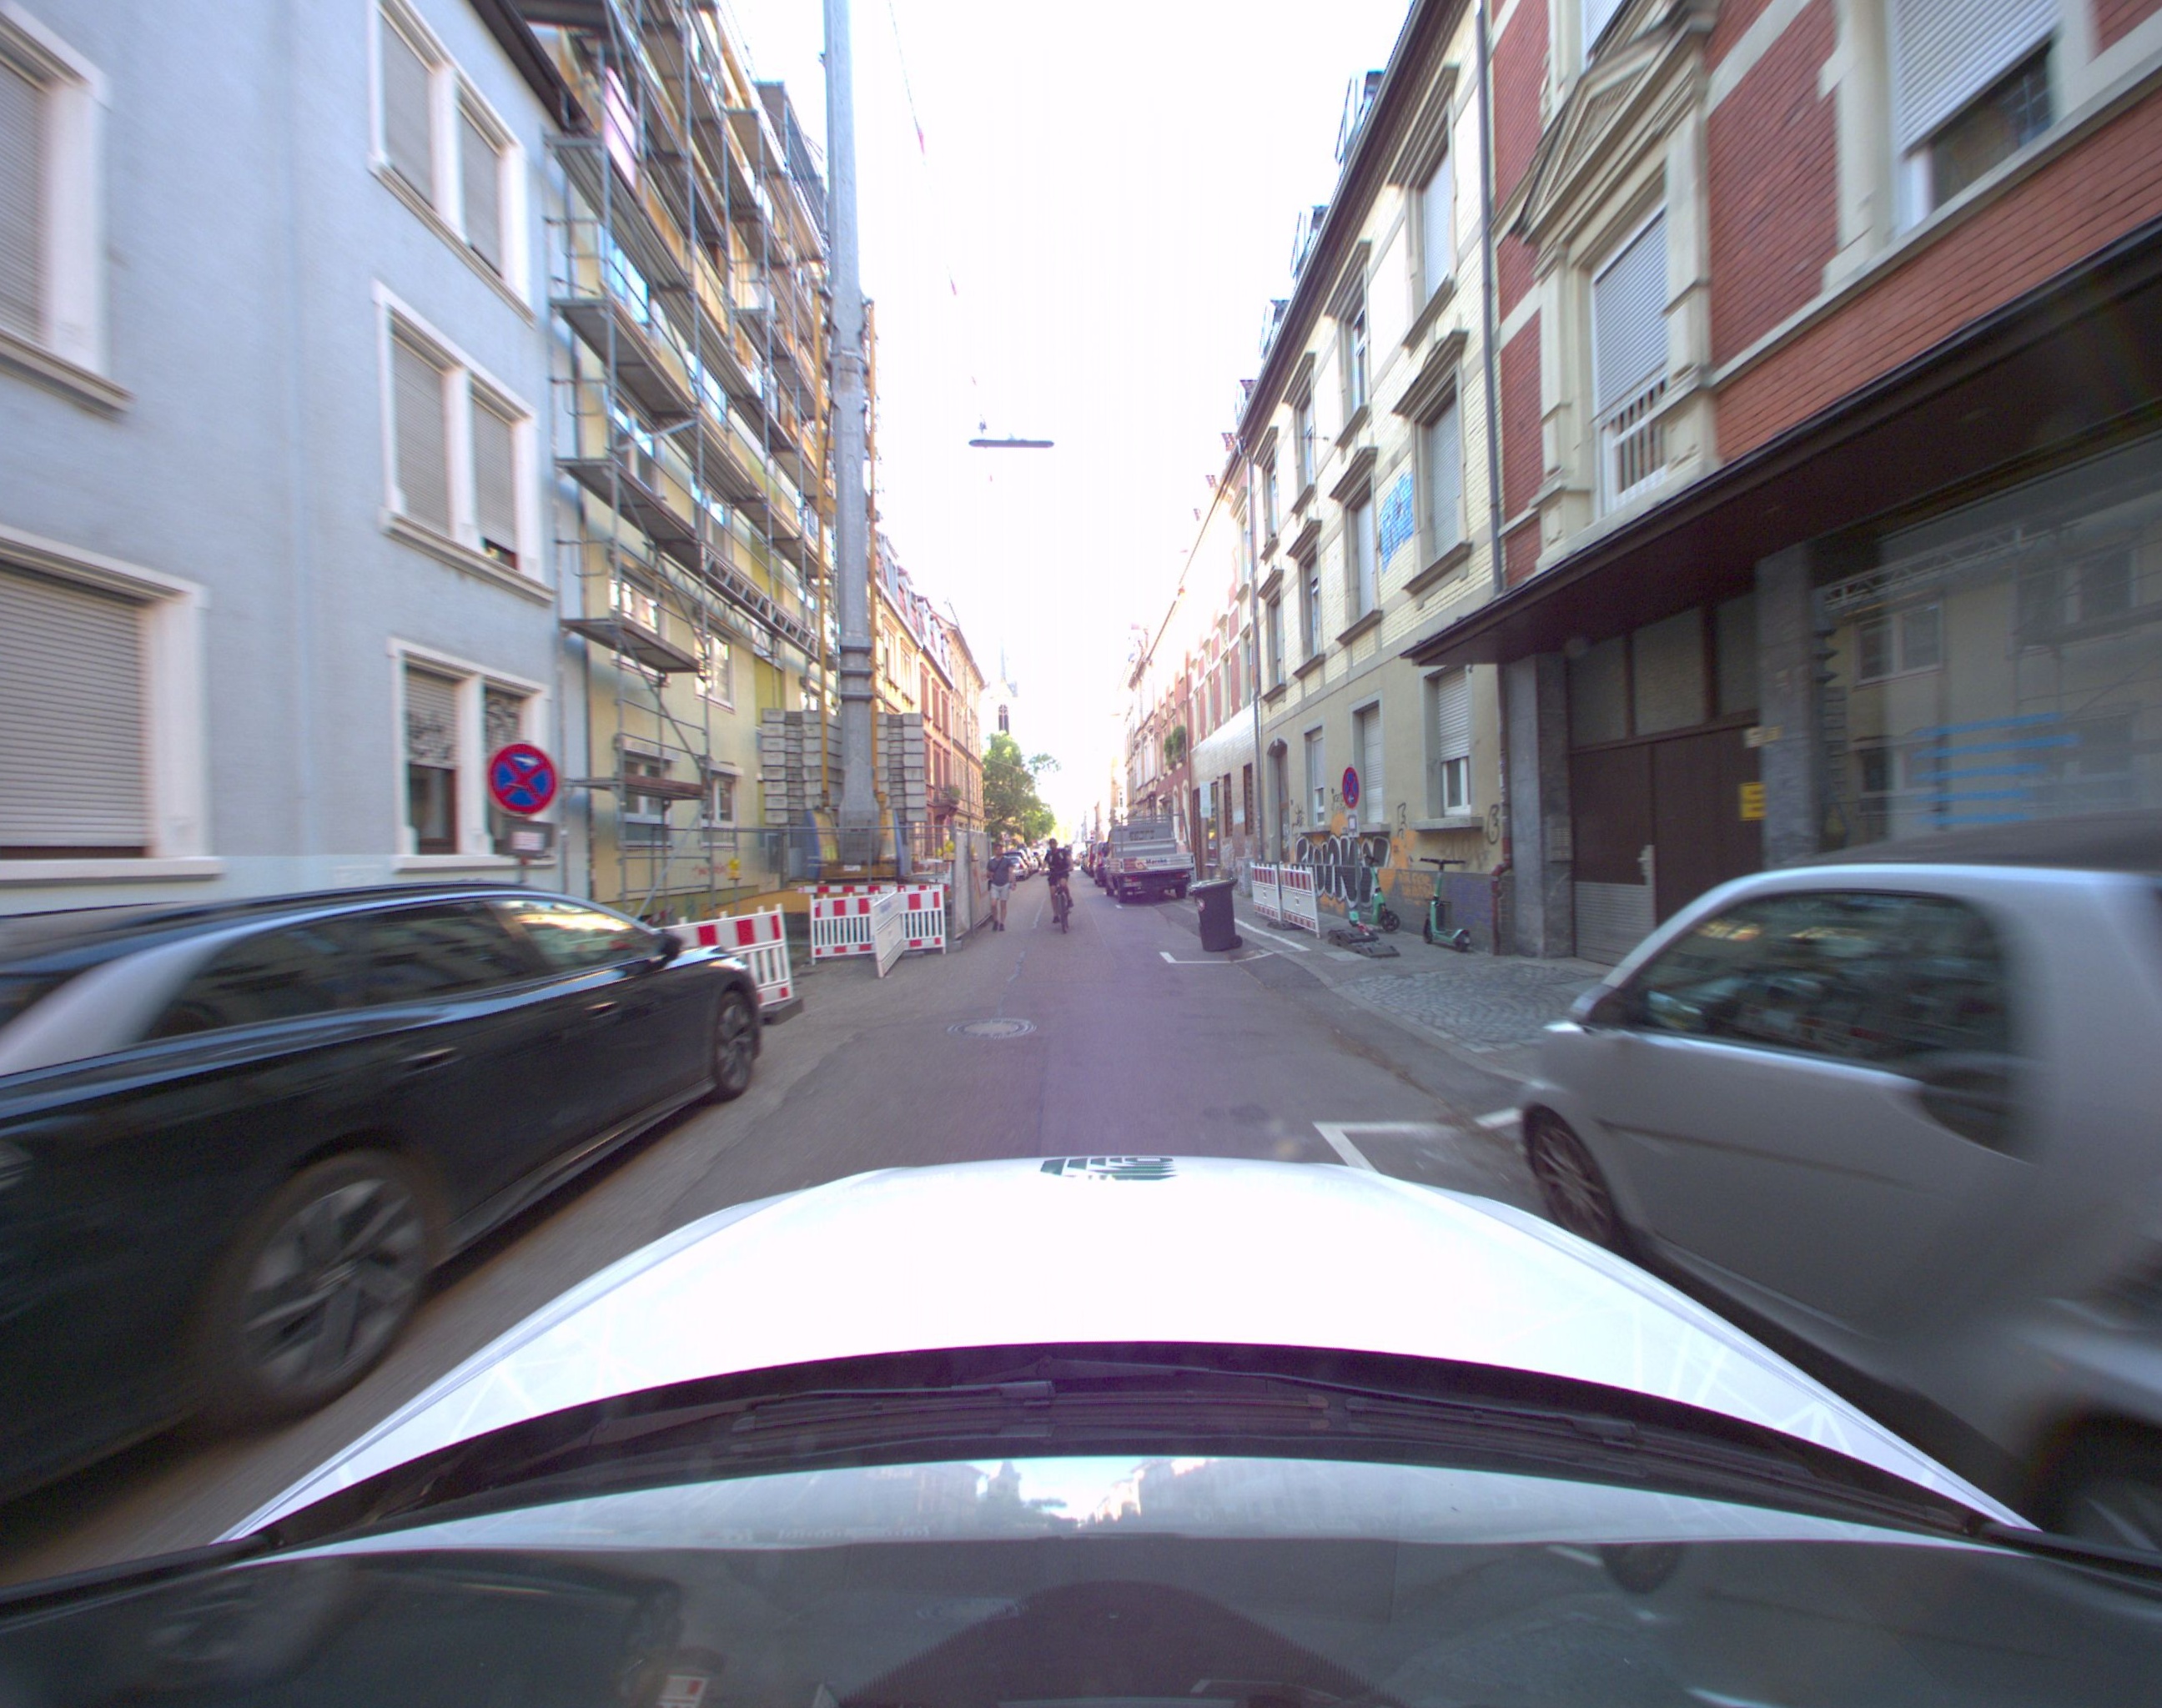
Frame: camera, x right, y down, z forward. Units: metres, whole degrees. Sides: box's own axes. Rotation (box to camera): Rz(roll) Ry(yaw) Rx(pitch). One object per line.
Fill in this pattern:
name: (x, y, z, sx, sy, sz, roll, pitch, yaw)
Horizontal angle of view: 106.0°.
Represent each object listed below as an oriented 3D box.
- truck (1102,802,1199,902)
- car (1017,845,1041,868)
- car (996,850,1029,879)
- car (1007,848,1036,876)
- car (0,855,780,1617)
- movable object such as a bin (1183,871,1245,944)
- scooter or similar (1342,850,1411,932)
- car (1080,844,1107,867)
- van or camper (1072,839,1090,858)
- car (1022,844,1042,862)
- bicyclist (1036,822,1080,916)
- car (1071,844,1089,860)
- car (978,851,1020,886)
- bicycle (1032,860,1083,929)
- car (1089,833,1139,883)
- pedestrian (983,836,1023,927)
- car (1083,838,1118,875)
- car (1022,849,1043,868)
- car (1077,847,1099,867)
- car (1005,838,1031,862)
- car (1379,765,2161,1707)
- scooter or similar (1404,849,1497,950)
truck: (1.960, -0.063, 24.819, 2.184, 2.607, 5.229, -3, 0, -2)
car: (-3.893, 0.191, 60.964, 1.671, 1.571, 3.864, -2, 0, -3)
car: (-3.781, 0.566, 45.602, 1.671, 1.445, 3.864, -2, 0, -3)
car: (-3.666, 0.473, 50.512, 1.671, 1.571, 3.864, -2, 0, -3)
car: (-3.058, 0.799, 3.730, 1.670, 1.477, 4.605, -3, 0, -1)
movable object such as a bin: (2.041, 0.812, 12.564, 0.793, 1.056, 0.660, -2, 0, -2)
scooter or similar: (4.584, 0.544, 12.720, 0.417, 1.178, 1.494, -4, 0, -1)
car: (0.889, 0.115, 61.266, 1.671, 1.571, 3.864, -2, 0, -3)
van or camper: (-0.039, -0.738, 114.304, 1.991, 2.508, 4.194, -3, 0, -5)
car: (-5.318, -0.092, 89.178, 1.989, 1.848, 3.996, -3, 0, -2)
bicyclist: (-0.430, 0.274, 15.721, 0.727, 1.761, 0.836, -1, 1, 4)
car: (-0.146, -0.232, 98.705, 1.989, 1.848, 3.996, -3, 0, -2)
car: (-3.636, 0.628, 36.791, 1.671, 1.445, 3.864, -2, 0, -3)
bicycle: (-0.419, 0.742, 15.771, 0.721, 1.186, 2.046, -1, 1, 5)
car: (1.370, 0.169, 35.300, 1.671, 1.962, 4.104, -2, 0, -3)
pedestrian: (-1.522, 0.527, 16.058, 0.656, 1.732, 0.720, -3, 0, -1)
car: (1.135, 0.114, 48.169, 1.671, 2.031, 3.864, -2, 0, -3)
car: (-4.967, 0.478, 83.980, 1.989, 1.848, 3.996, -2, 0, -2)
car: (0.716, 0.311, 85.696, 1.989, 2.013, 3.996, -2, 0, -2)
car: (-4.279, -0.269, 55.760, 1.671, 1.571, 3.864, -2, 0, -3)
car: (2.535, 0.594, 2.814, 1.591, 1.560, 3.814, -3, 0, 0)
scooter or similar: (4.731, 0.540, 10.526, 0.417, 1.178, 1.494, -4, 0, -1)
